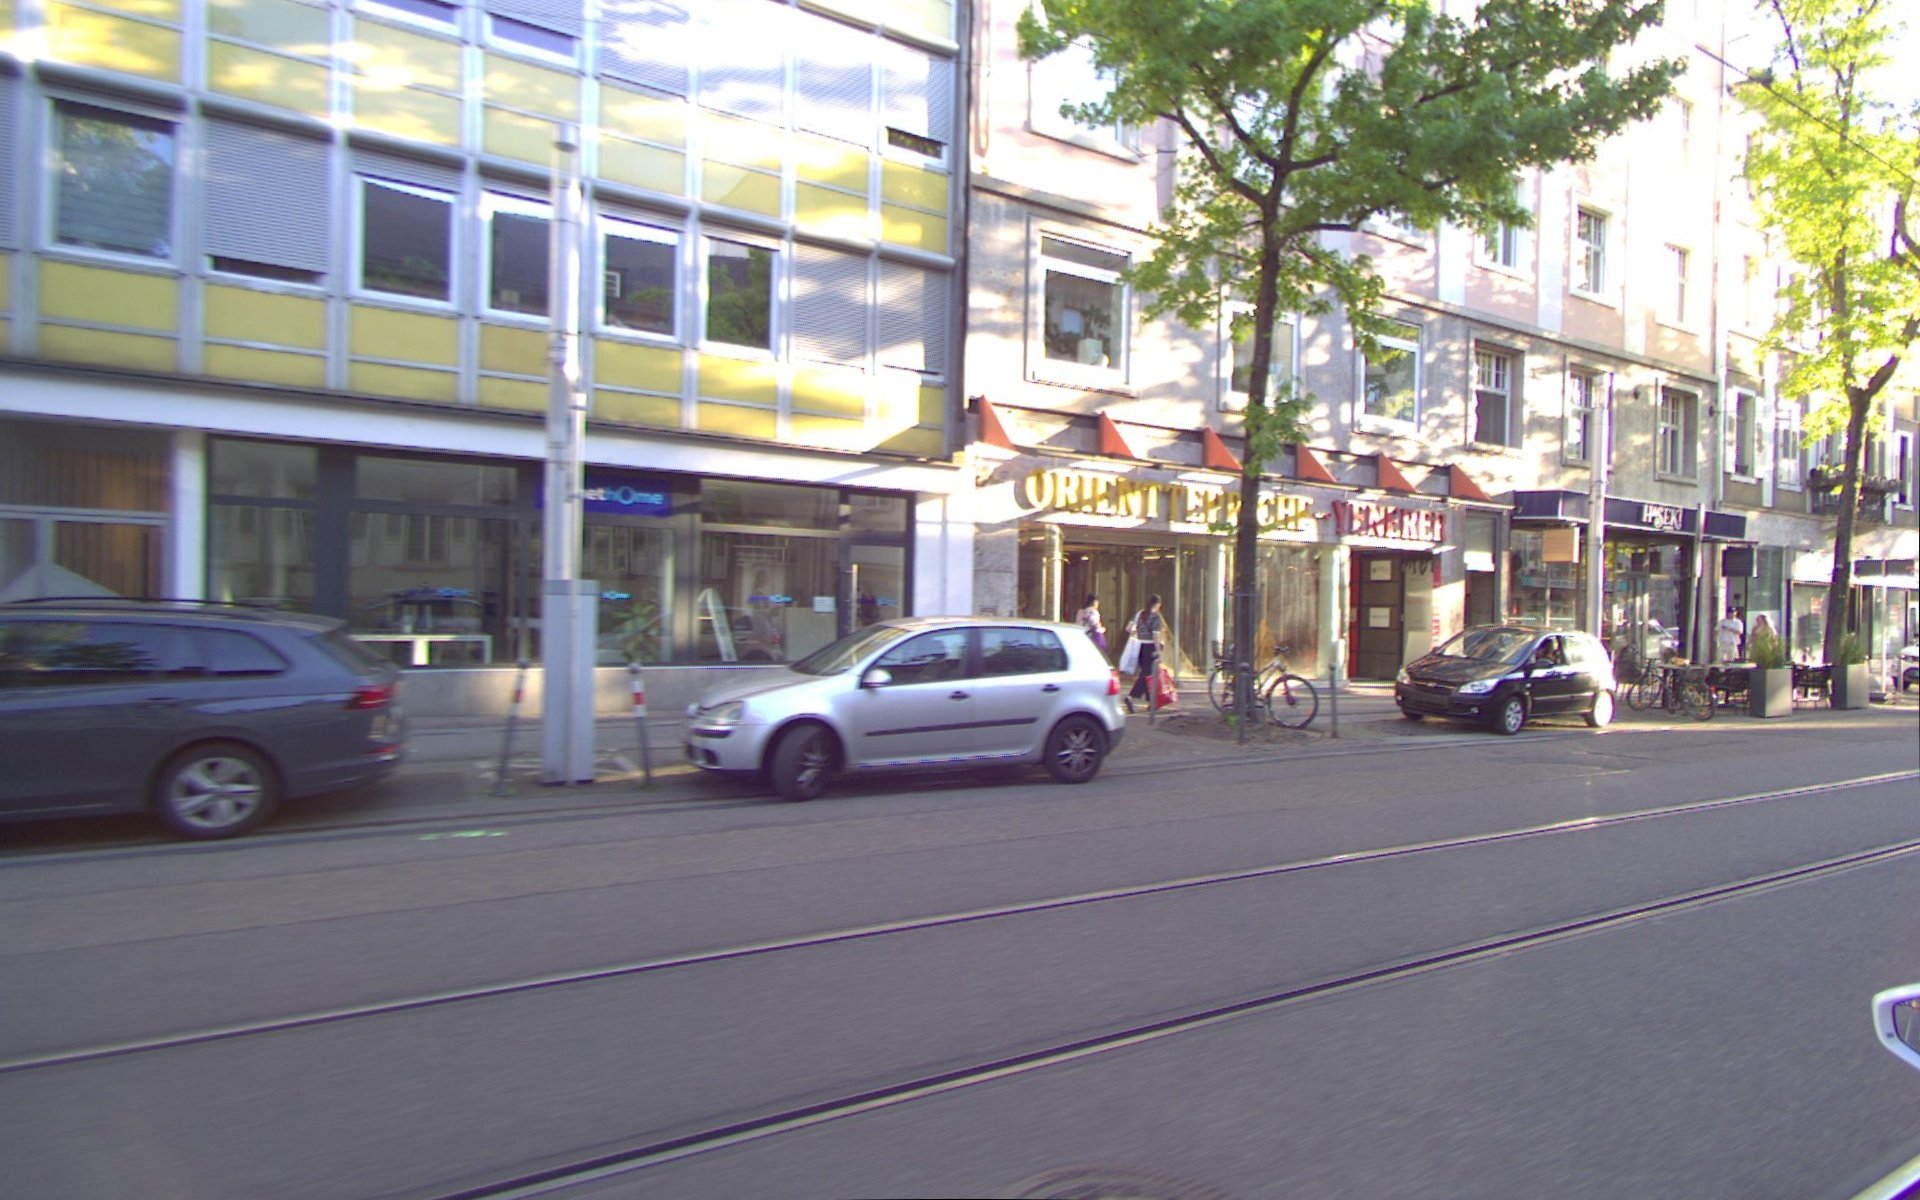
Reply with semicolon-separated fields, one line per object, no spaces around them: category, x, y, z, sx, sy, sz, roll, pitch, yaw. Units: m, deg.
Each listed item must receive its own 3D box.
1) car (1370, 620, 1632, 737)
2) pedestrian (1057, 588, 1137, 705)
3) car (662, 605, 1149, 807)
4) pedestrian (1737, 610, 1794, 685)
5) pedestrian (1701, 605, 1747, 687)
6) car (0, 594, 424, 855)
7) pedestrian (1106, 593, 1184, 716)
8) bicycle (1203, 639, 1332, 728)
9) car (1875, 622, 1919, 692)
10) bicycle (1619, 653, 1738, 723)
car;8.119;1.104;15.026;3.782;1.447;1.657;1;2;-30
pedestrian;2.093;0.695;15.382;0.903;1.716;0.785;1;0;-30
car;-0.490;0.864;9.269;4.117;1.517;1.762;2;0;-24
pedestrian;19.639;1.144;24.493;1.077;1.784;0.718;1;0;-29
pedestrian;19.239;1.147;25.305;0.635;2.040;0.719;1;0;-29
car;-6.052;0.731;6.597;4.432;1.480;1.703;1;1;-29
pedestrian;2.680;0.772;14.572;0.731;1.716;0.840;1;0;-30
bicycle;4.265;1.133;14.042;0.436;1.079;1.796;1;1;-37
car;25.009;1.460;25.157;4.066;1.601;1.828;1;3;-29
bicycle;12.006;1.446;16.841;0.426;0.978;1.612;1;2;-23
